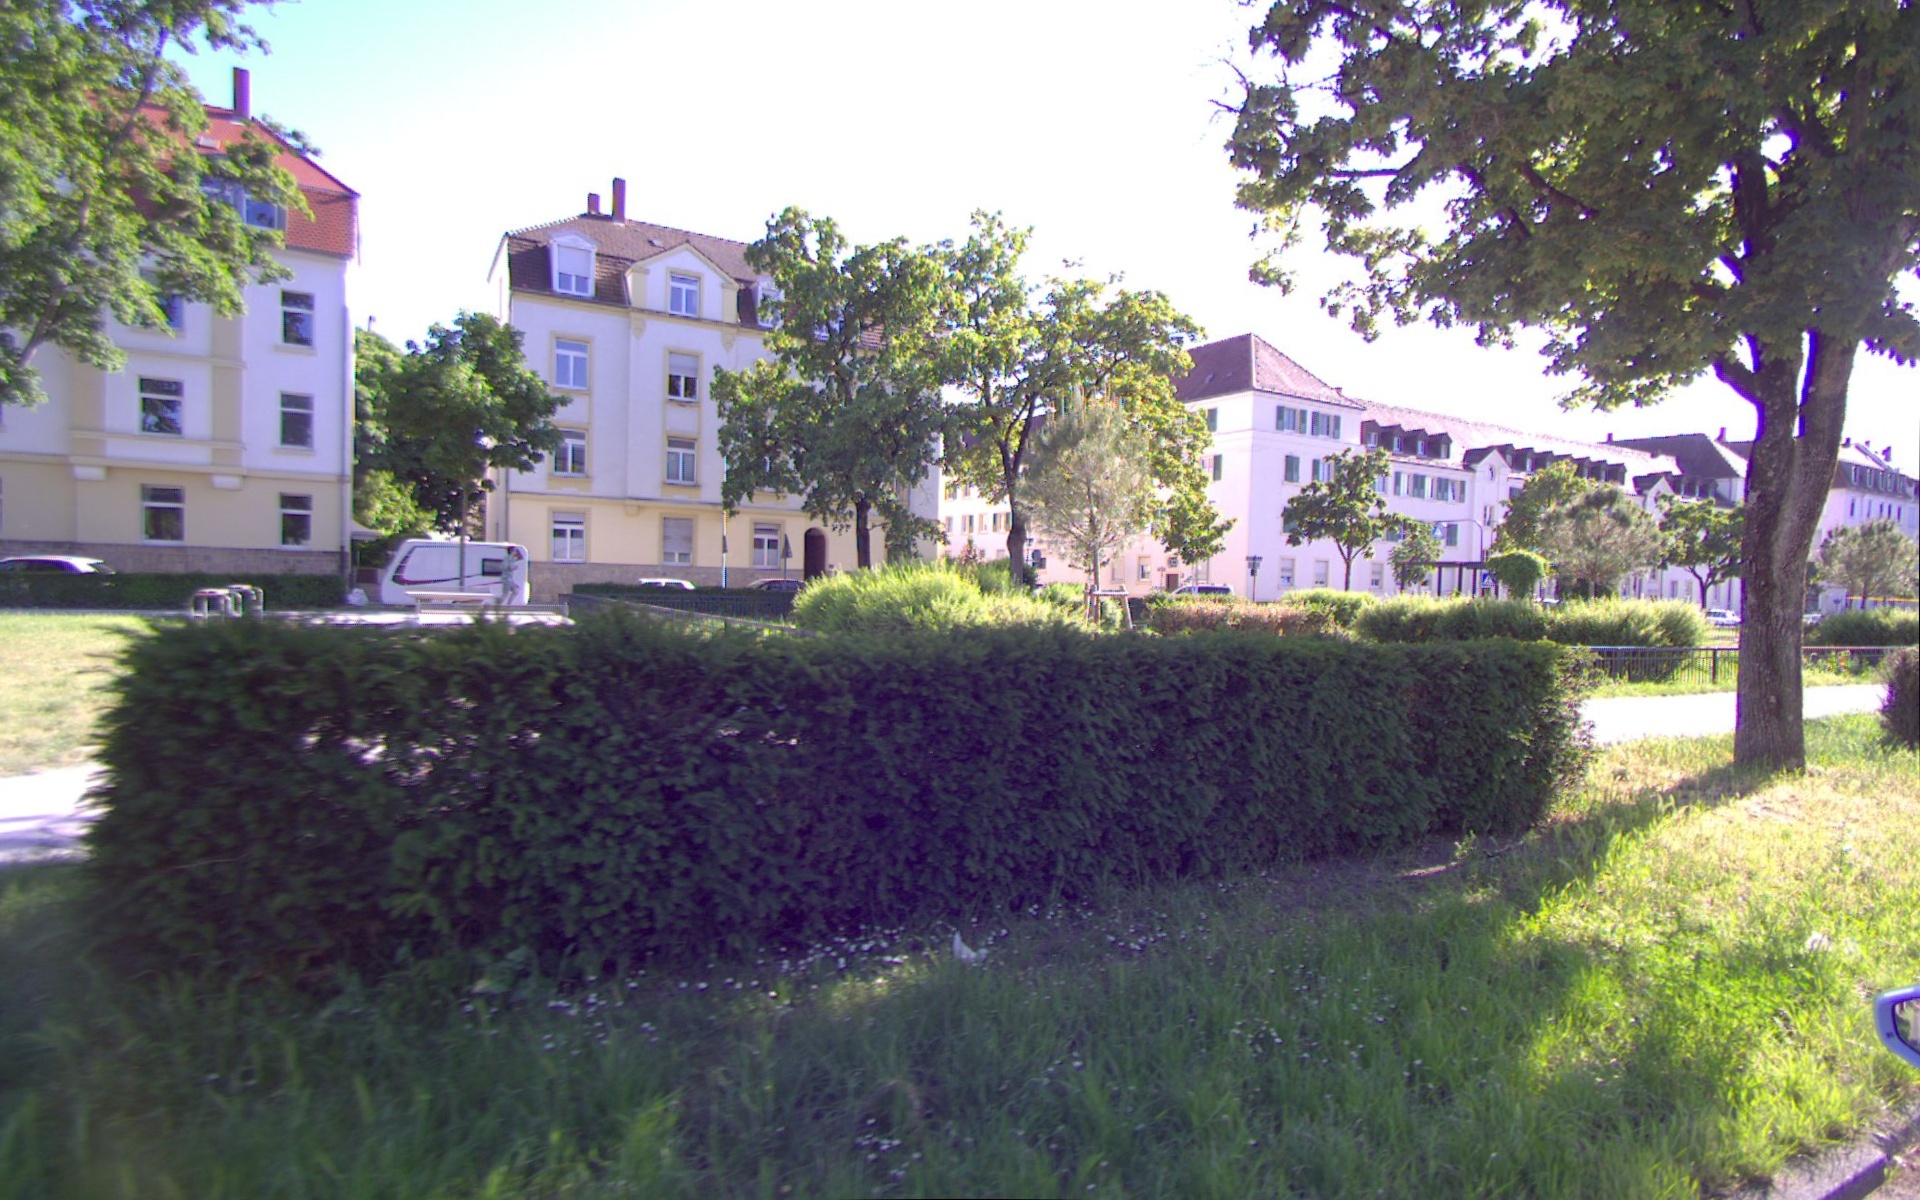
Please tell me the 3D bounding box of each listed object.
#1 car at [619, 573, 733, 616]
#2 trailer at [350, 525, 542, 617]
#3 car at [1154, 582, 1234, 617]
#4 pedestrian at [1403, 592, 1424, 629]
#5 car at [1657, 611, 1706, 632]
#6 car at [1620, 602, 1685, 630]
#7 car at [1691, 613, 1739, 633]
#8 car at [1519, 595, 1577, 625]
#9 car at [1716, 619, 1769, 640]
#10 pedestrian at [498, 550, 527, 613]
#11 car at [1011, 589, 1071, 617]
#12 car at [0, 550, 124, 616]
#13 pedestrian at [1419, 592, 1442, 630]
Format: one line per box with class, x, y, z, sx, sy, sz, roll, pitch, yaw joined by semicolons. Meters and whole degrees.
car;-11.081;-0.219;39.242;3.953;1.530;1.785;1;2;-30
trailer;-17.796;-0.947;34.888;5.736;2.909;2.331;1;2;-31
car;12.284;-0.047;52.862;3.919;1.674;1.801;2;1;9
pedestrian;21.401;0.511;47.399;0.642;1.721;0.645;1;0;-30
car;58.575;1.756;81.532;3.953;1.530;1.785;1;1;-30
car;46.983;1.090;68.114;4.647;1.733;1.785;1;1;-30
car;63.528;1.913;84.551;3.953;1.530;1.785;1;1;-30
car;41.453;0.696;70.782;3.953;1.935;1.785;1;1;-30
car;59.423;2.246;76.249;3.953;1.530;1.785;1;1;-30
pedestrian;-12.350;-0.509;27.702;0.642;1.683;0.645;1;0;-30
car;5.049;0.175;63.184;1.779;1.587;3.966;1;1;-31
car;-27.155;-0.516;28.941;4.436;1.801;1.785;1;2;-30
pedestrian;21.831;0.517;46.617;0.642;1.721;0.645;1;0;-30
